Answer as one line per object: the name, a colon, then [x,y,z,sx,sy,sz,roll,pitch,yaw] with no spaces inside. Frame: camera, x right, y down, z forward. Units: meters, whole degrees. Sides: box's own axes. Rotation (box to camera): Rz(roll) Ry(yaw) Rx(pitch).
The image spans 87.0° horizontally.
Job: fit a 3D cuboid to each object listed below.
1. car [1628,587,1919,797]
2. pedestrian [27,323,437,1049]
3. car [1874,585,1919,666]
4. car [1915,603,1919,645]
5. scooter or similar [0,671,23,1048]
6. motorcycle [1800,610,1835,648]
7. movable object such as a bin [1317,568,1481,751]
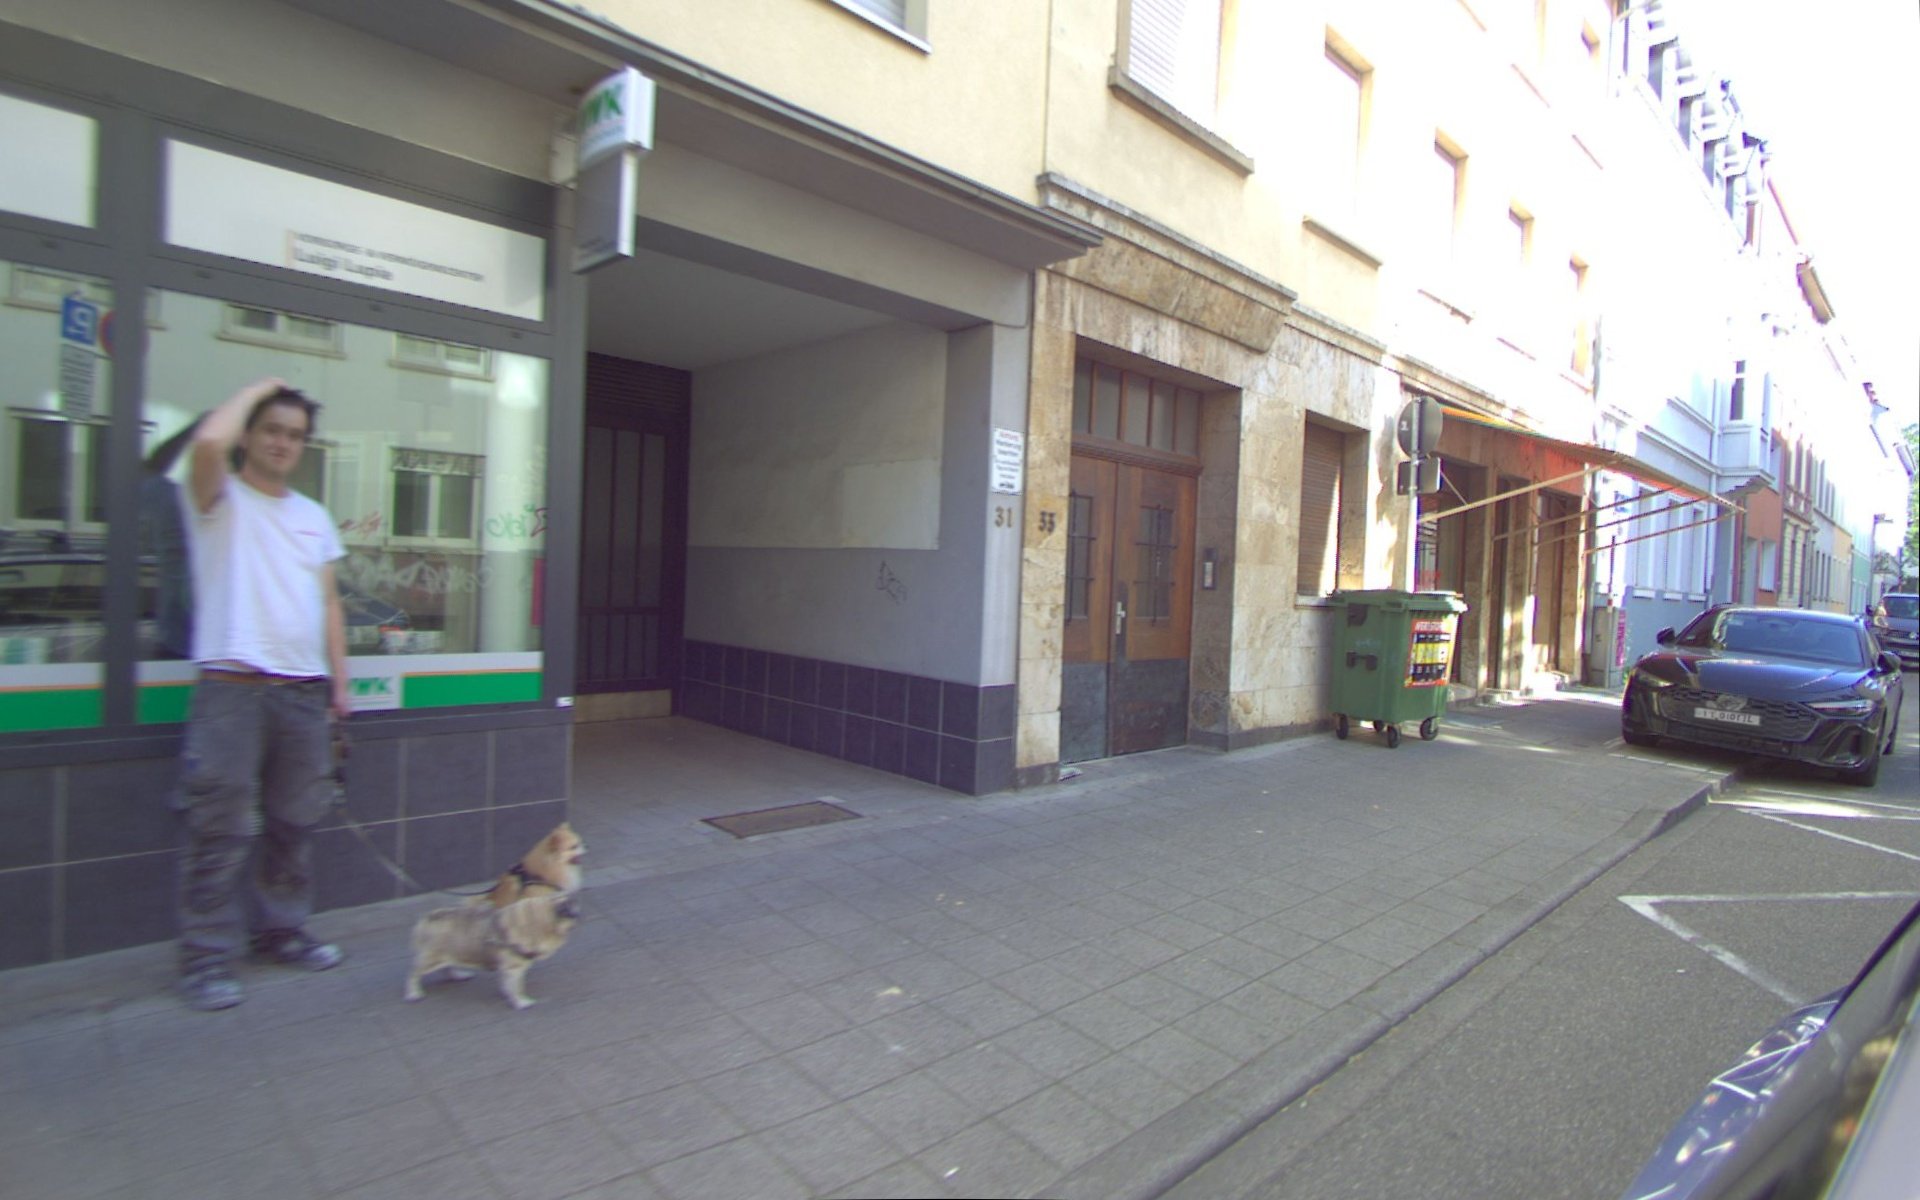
car: [8.440,0.716,10.237,4.816,1.598,1.803,0,1,-44]
pedestrian: [-2.184,0.200,3.082,0.643,1.882,0.743,5,2,24]
car: [26.106,0.670,27.272,1.971,2.054,4.820,1,1,45]
car: [38.534,0.963,39.416,3.984,1.561,1.742,0,3,-44]
scooter or similar: [-2.745,0.672,2.285,0.852,0.956,0.492,2,2,-37]
motorcycle: [26.479,0.875,31.241,0.636,1.057,2.326,3,3,44]
movable object such as a bin: [3.922,0.489,9.010,1.349,1.453,0.748,1,4,-42]
